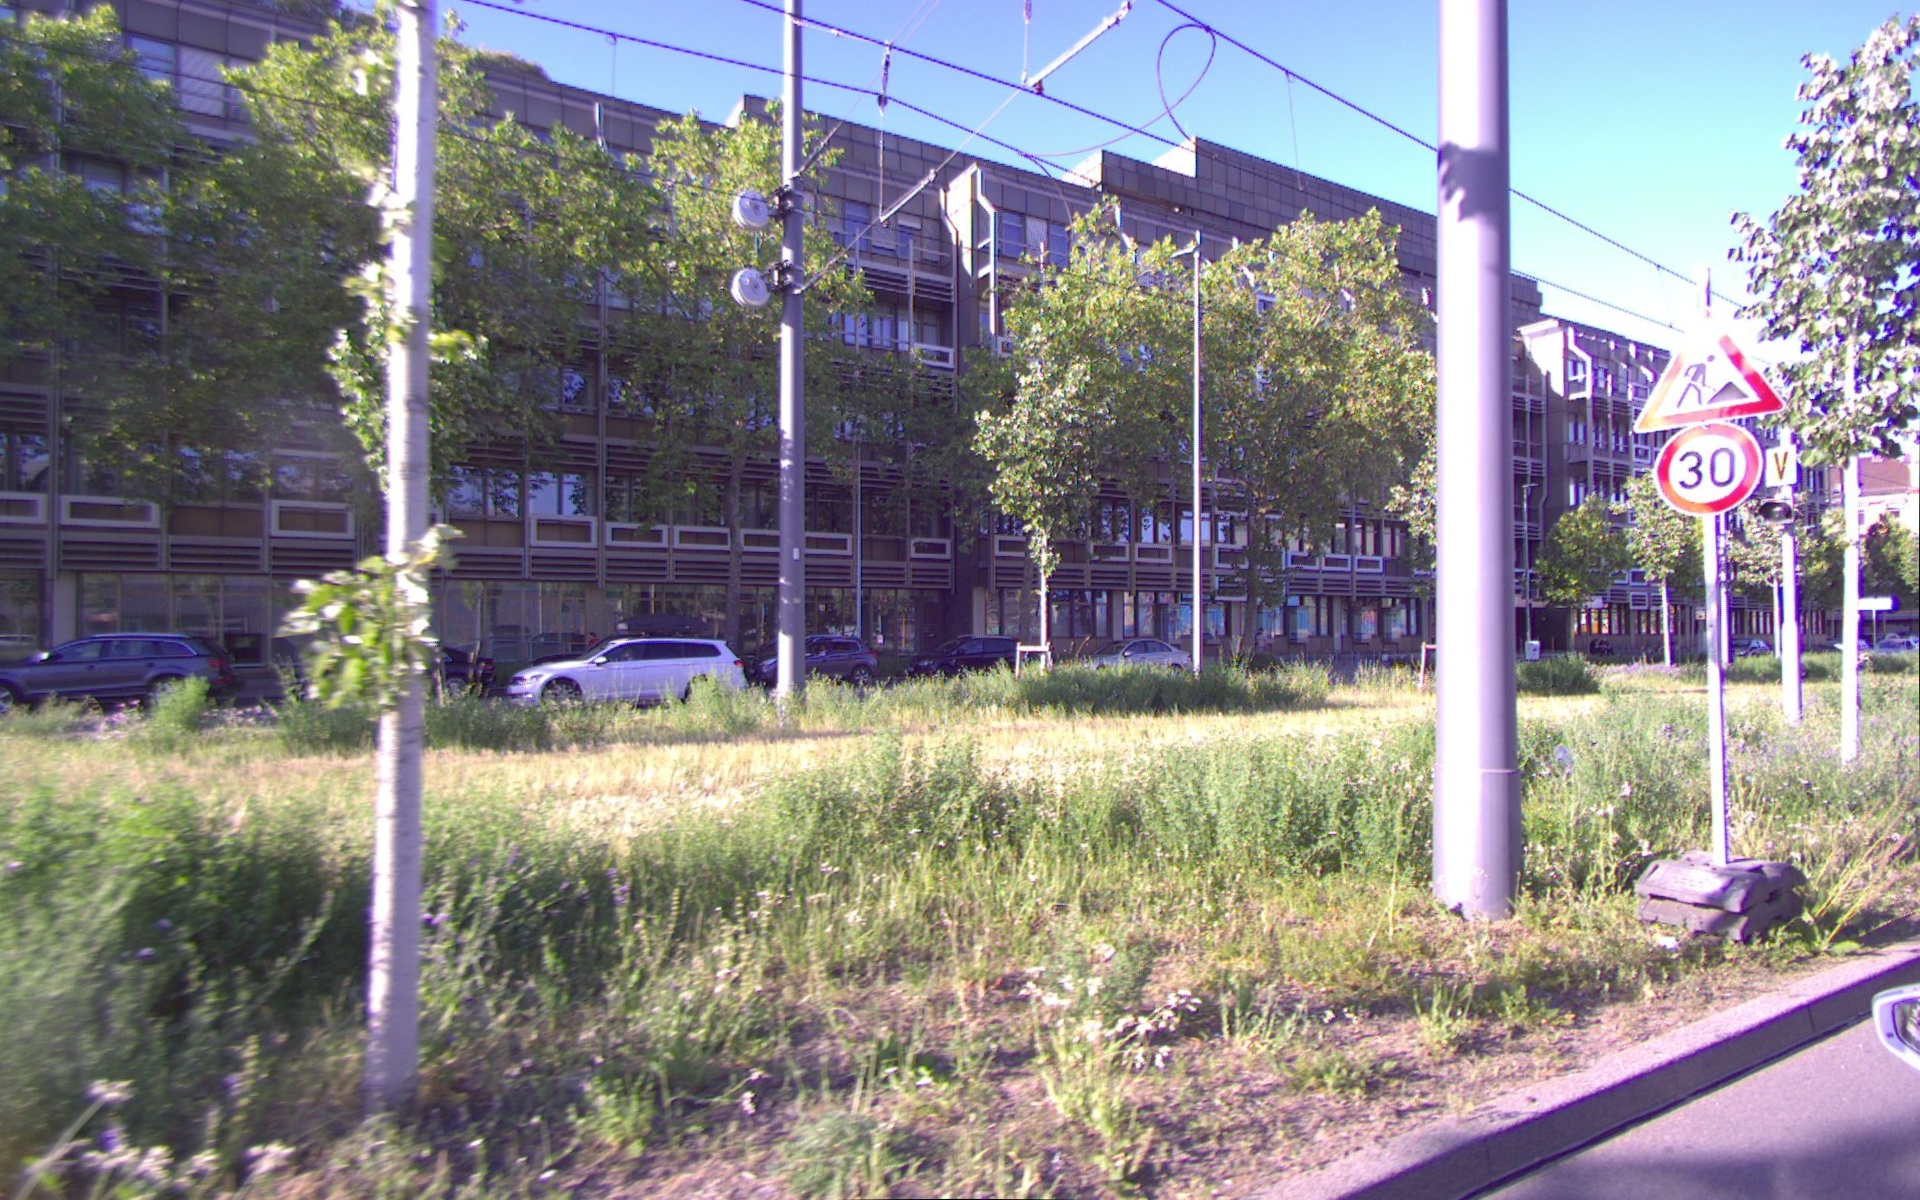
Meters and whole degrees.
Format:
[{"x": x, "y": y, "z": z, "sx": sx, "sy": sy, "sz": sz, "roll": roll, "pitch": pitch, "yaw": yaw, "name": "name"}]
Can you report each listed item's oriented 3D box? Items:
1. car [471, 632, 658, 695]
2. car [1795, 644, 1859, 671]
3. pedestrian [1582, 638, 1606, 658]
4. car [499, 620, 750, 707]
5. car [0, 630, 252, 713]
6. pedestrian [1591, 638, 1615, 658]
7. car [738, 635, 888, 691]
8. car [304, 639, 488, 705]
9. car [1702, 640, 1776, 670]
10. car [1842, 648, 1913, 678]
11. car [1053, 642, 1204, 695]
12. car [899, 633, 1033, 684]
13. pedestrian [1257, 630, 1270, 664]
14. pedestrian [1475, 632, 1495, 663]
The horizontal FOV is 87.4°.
[{"x": -10.845, "y": 1.697, "z": 27.664, "sx": 4.571, "sy": 1.578, "sz": 1.735, "roll": 1, "pitch": -1, "yaw": -31, "name": "car"}, {"x": 55.125, "y": 3.632, "z": 63.876, "sx": 4.253, "sy": 1.596, "sz": 1.894, "roll": 1, "pitch": -2, "yaw": -32, "name": "car"}, {"x": 38.511, "y": 2.926, "z": 61.009, "sx": 0.856, "sy": 1.184, "sz": 0.895, "roll": 1, "pitch": -2, "yaw": -32, "name": "pedestrian"}, {"x": -6.879, "y": 1.255, "z": 20.738, "sx": 4.638, "sy": 1.615, "sz": 1.832, "roll": 1, "pitch": -2, "yaw": -30, "name": "car"}, {"x": -19.264, "y": 1.576, "z": 23.004, "sx": 4.815, "sy": 1.702, "sz": 1.982, "roll": 2, "pitch": -1, "yaw": -33, "name": "car"}, {"x": 39.490, "y": 2.956, "z": 61.672, "sx": 0.888, "sy": 1.184, "sz": 0.896, "roll": 1, "pitch": -2, "yaw": -30, "name": "pedestrian"}, {"x": -4.631, "y": 1.956, "z": 31.674, "sx": 4.307, "sy": 1.653, "sz": 1.904, "roll": 1, "pitch": -4, "yaw": -28, "name": "car"}, {"x": -14.240, "y": 1.772, "z": 25.637, "sx": 3.948, "sy": 1.541, "sz": 1.987, "roll": 1, "pitch": -1, "yaw": -27, "name": "car"}, {"x": 43.333, "y": 3.021, "z": 55.834, "sx": 4.253, "sy": 1.596, "sz": 1.894, "roll": 1, "pitch": -2, "yaw": -32, "name": "car"}, {"x": 50.839, "y": 3.473, "z": 55.656, "sx": 3.955, "sy": 1.596, "sz": 1.894, "roll": 1, "pitch": -2, "yaw": -32, "name": "car"}, {"x": 5.218, "y": 2.076, "z": 30.911, "sx": 4.528, "sy": 1.535, "sz": 1.750, "roll": 2, "pitch": -3, "yaw": -30, "name": "car"}, {"x": 0.220, "y": 1.966, "z": 34.166, "sx": 4.226, "sy": 1.617, "sz": 1.853, "roll": 2, "pitch": -3, "yaw": -29, "name": "car"}, {"x": 14.300, "y": 2.205, "z": 47.335, "sx": 0.441, "sy": 1.582, "sz": 0.407, "roll": 1, "pitch": -2, "yaw": -29, "name": "pedestrian"}, {"x": 26.608, "y": 2.386, "z": 50.896, "sx": 0.642, "sy": 1.552, "sz": 0.660, "roll": 1, "pitch": -2, "yaw": -33, "name": "pedestrian"}]
